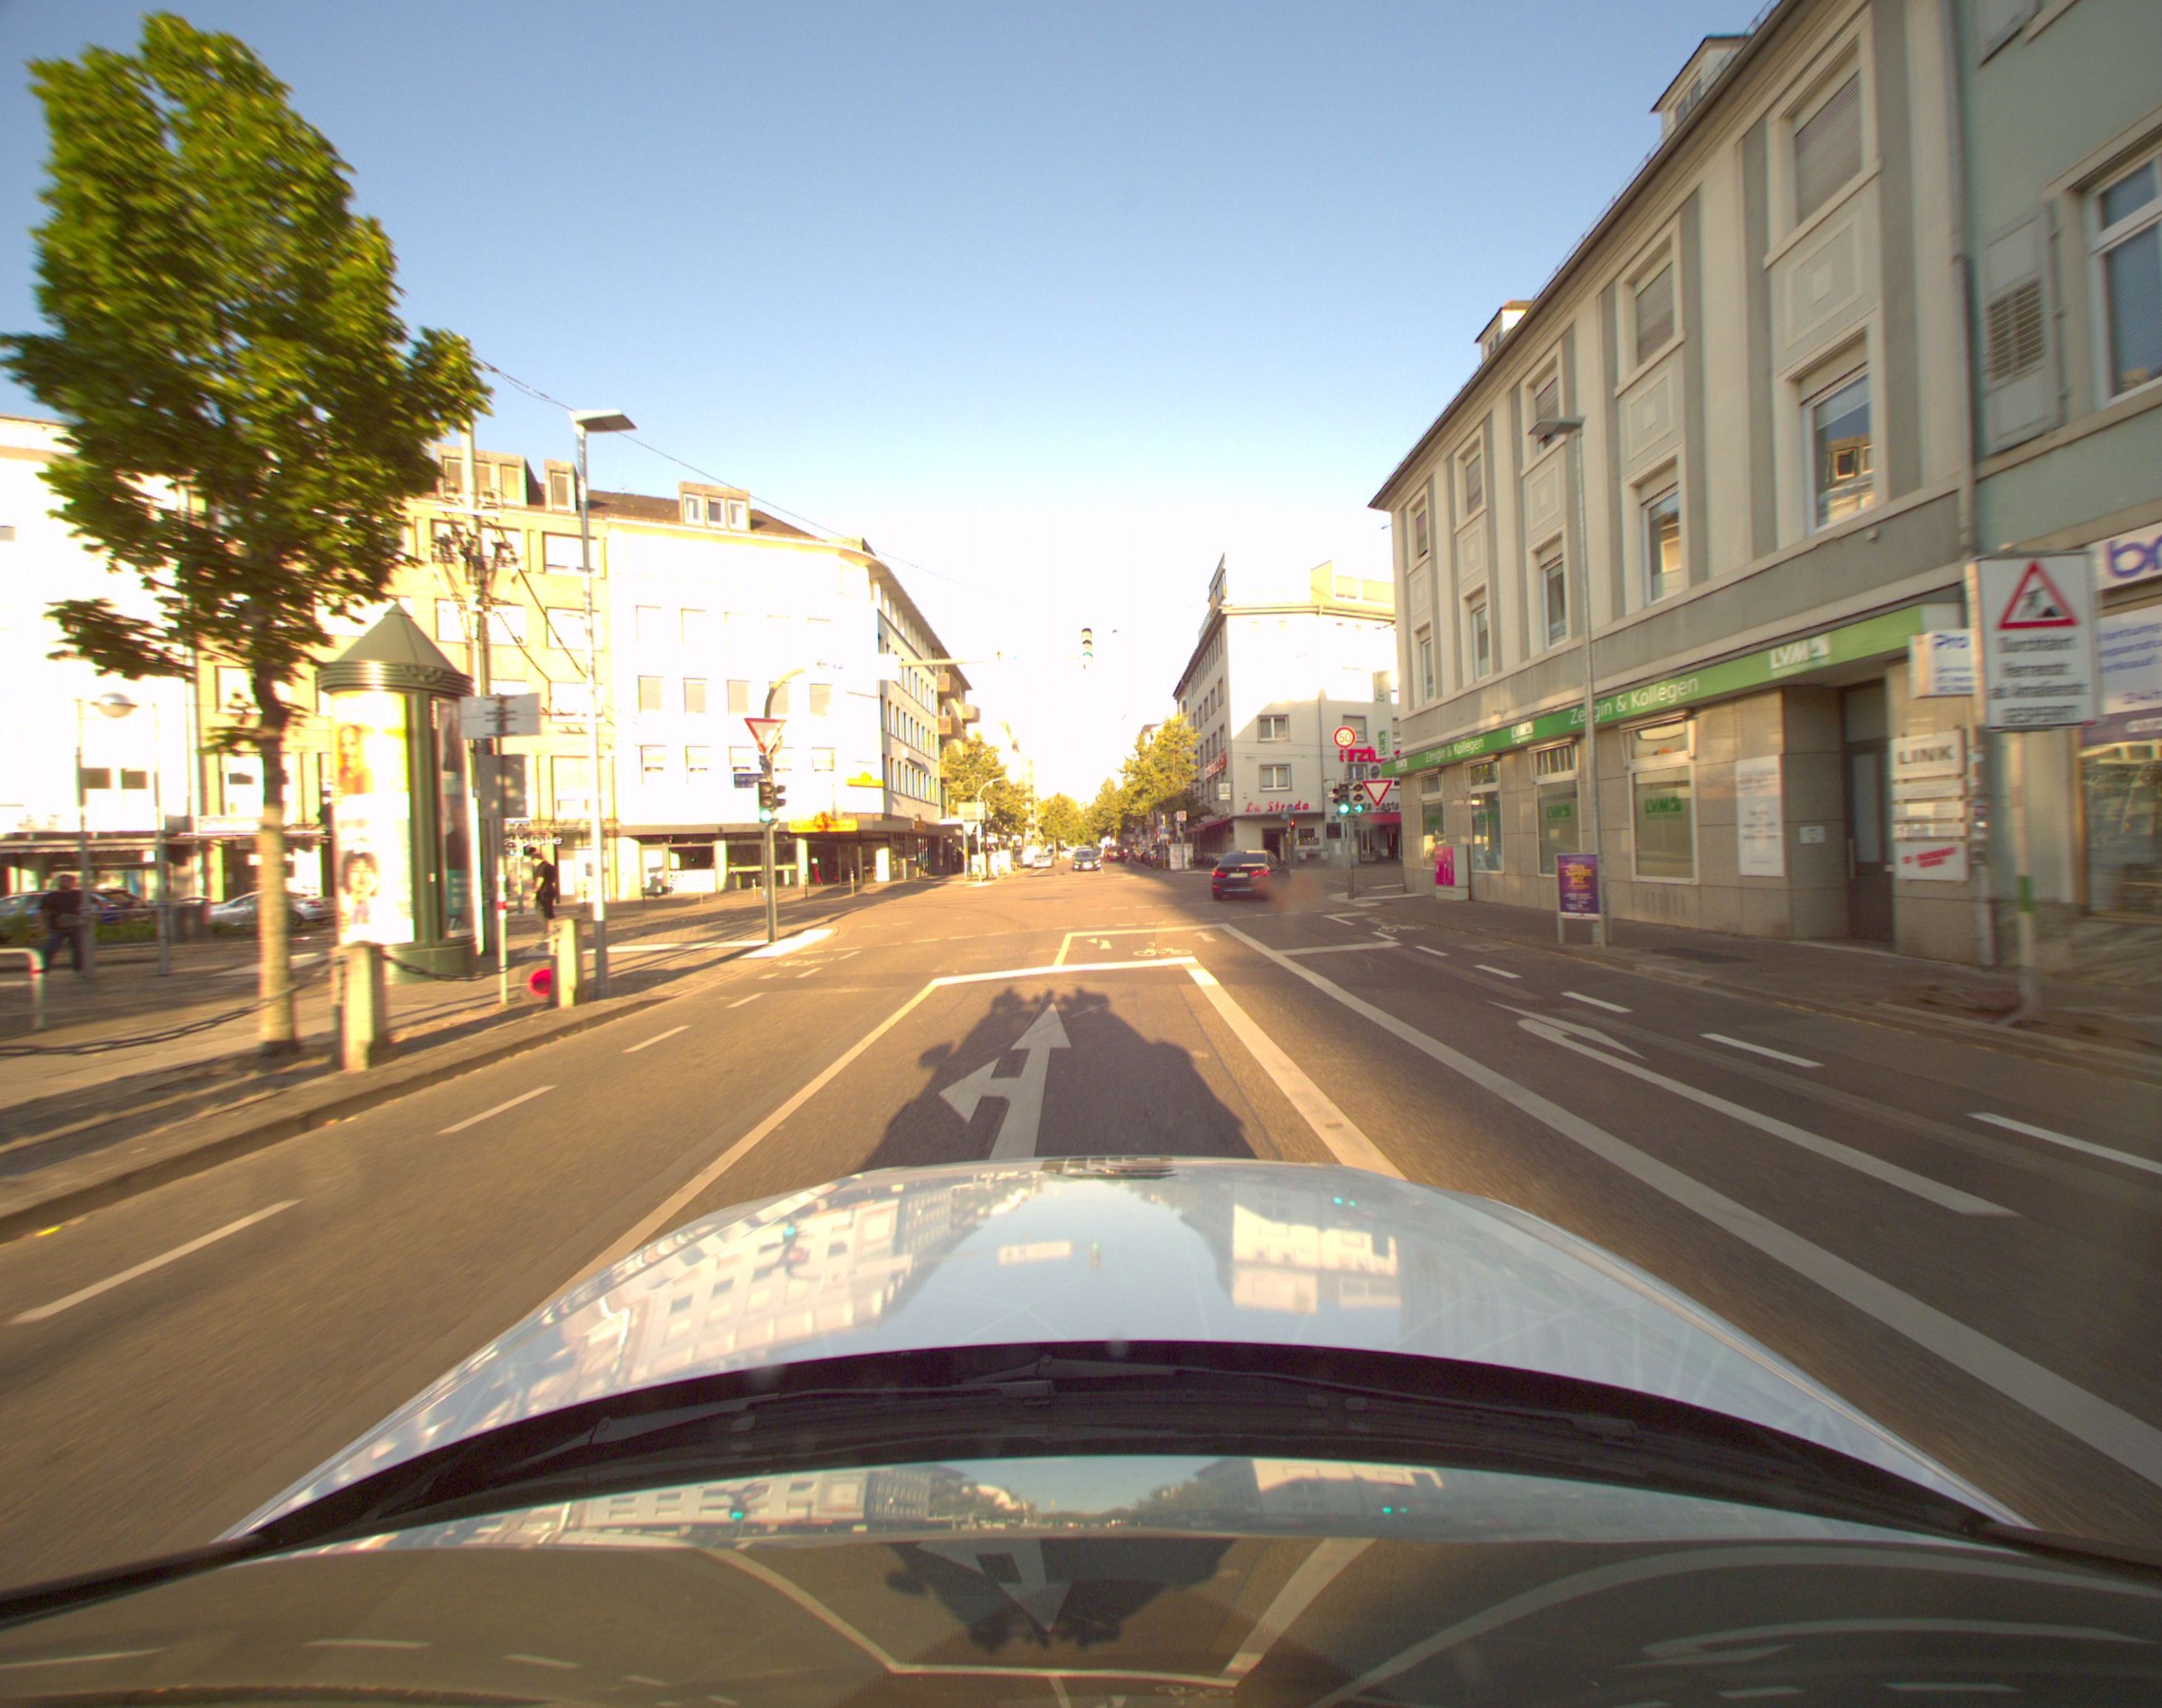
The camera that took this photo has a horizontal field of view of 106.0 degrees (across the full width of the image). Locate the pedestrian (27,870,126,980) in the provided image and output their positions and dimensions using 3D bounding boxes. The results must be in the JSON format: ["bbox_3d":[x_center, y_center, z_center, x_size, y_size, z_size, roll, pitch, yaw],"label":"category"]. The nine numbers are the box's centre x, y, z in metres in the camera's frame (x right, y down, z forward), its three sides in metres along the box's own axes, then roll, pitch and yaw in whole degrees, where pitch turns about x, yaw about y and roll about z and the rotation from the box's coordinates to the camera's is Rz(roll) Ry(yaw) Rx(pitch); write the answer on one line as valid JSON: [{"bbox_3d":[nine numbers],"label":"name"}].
[{"bbox_3d":[-16.258,1.114,13.210,0.782,1.676,0.897,0,-1,-34],"label":"pedestrian"}]

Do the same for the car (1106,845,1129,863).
[{"bbox_3d":[3.418,0.046,76.322,1.984,1.601,4.515,-1,0,4],"label":"car"}]

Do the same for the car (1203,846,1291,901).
[{"bbox_3d":[5.048,0.515,24.284,1.977,1.419,4.532,-1,1,19],"label":"car"}]

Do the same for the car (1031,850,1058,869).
[{"bbox_3d":[-3.164,0.482,71.239,1.987,1.511,4.509,-5,-1,1],"label":"car"}]

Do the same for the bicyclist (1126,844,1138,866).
[{"bbox_3d":[4.045,0.060,64.455,0.778,1.696,1.006,-3,-1,-2],"label":"bicyclist"}]

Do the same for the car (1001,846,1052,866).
[{"bbox_3d":[-5.221,0.182,78.497,1.975,1.828,4.910,-1,-1,44],"label":"car"}]

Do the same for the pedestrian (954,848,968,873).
[{"bbox_3d":[-9.216,0.514,62.479,0.763,1.847,0.745,-2,1,10],"label":"pedestrian"}]

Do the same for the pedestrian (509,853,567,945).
[{"bbox_3d":[-10.955,0.878,16.454,0.909,1.784,0.873,0,-1,-30],"label":"pedestrian"}]

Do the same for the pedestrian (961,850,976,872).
[{"bbox_3d":[-8.760,0.570,63.426,0.760,1.676,0.747,-2,0,43],"label":"pedestrian"}]

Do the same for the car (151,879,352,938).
[{"bbox_3d":[-27.562,1.771,27.257,4.301,1.575,1.788,-2,1,-20],"label":"car"}]

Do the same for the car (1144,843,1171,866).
[{"bbox_3d":[6.152,0.010,65.631,1.650,1.778,4.008,-1,1,-2],"label":"car"}]

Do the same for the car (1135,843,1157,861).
[{"bbox_3d":[6.940,-0.187,87.093,1.877,1.754,5.057,-1,0,0],"label":"car"}]

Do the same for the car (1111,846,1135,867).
[{"bbox_3d":[3.271,0.189,64.287,1.717,1.549,4.466,-3,-1,1],"label":"car"}]

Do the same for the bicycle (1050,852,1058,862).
[{"bbox_3d":[-3.992,0.461,120.438,0.892,1.395,3.157,-2,0,-8],"label":"bicycle"}]

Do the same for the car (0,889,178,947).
[{"bbox_3d":[-31.773,1.993,25.218,4.610,1.476,2.035,-2,1,-21],"label":"car"}]

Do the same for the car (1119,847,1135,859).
[{"bbox_3d":[6.497,-0.134,115.496,1.820,1.695,4.364,-1,0,-2],"label":"car"}]

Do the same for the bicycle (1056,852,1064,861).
[{"bbox_3d":[-3.105,0.405,120.575,0.844,1.350,3.178,-2,0,-8],"label":"bicycle"}]

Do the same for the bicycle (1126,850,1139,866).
[{"bbox_3d":[4.030,0.346,64.365,0.778,1.204,2.019,-3,0,-2],"label":"bicycle"}]

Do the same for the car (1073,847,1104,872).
[{"bbox_3d":[0.468,0.324,56.035,1.953,1.547,4.507,-2,1,-2],"label":"car"}]

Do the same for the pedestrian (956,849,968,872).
[{"bbox_3d":[-9.387,0.515,64.124,0.737,1.819,0.814,-3,1,2],"label":"pedestrian"}]

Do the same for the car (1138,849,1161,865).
[{"bbox_3d":[6.149,0.236,73.563,1.747,1.420,4.509,-1,1,0],"label":"car"}]
